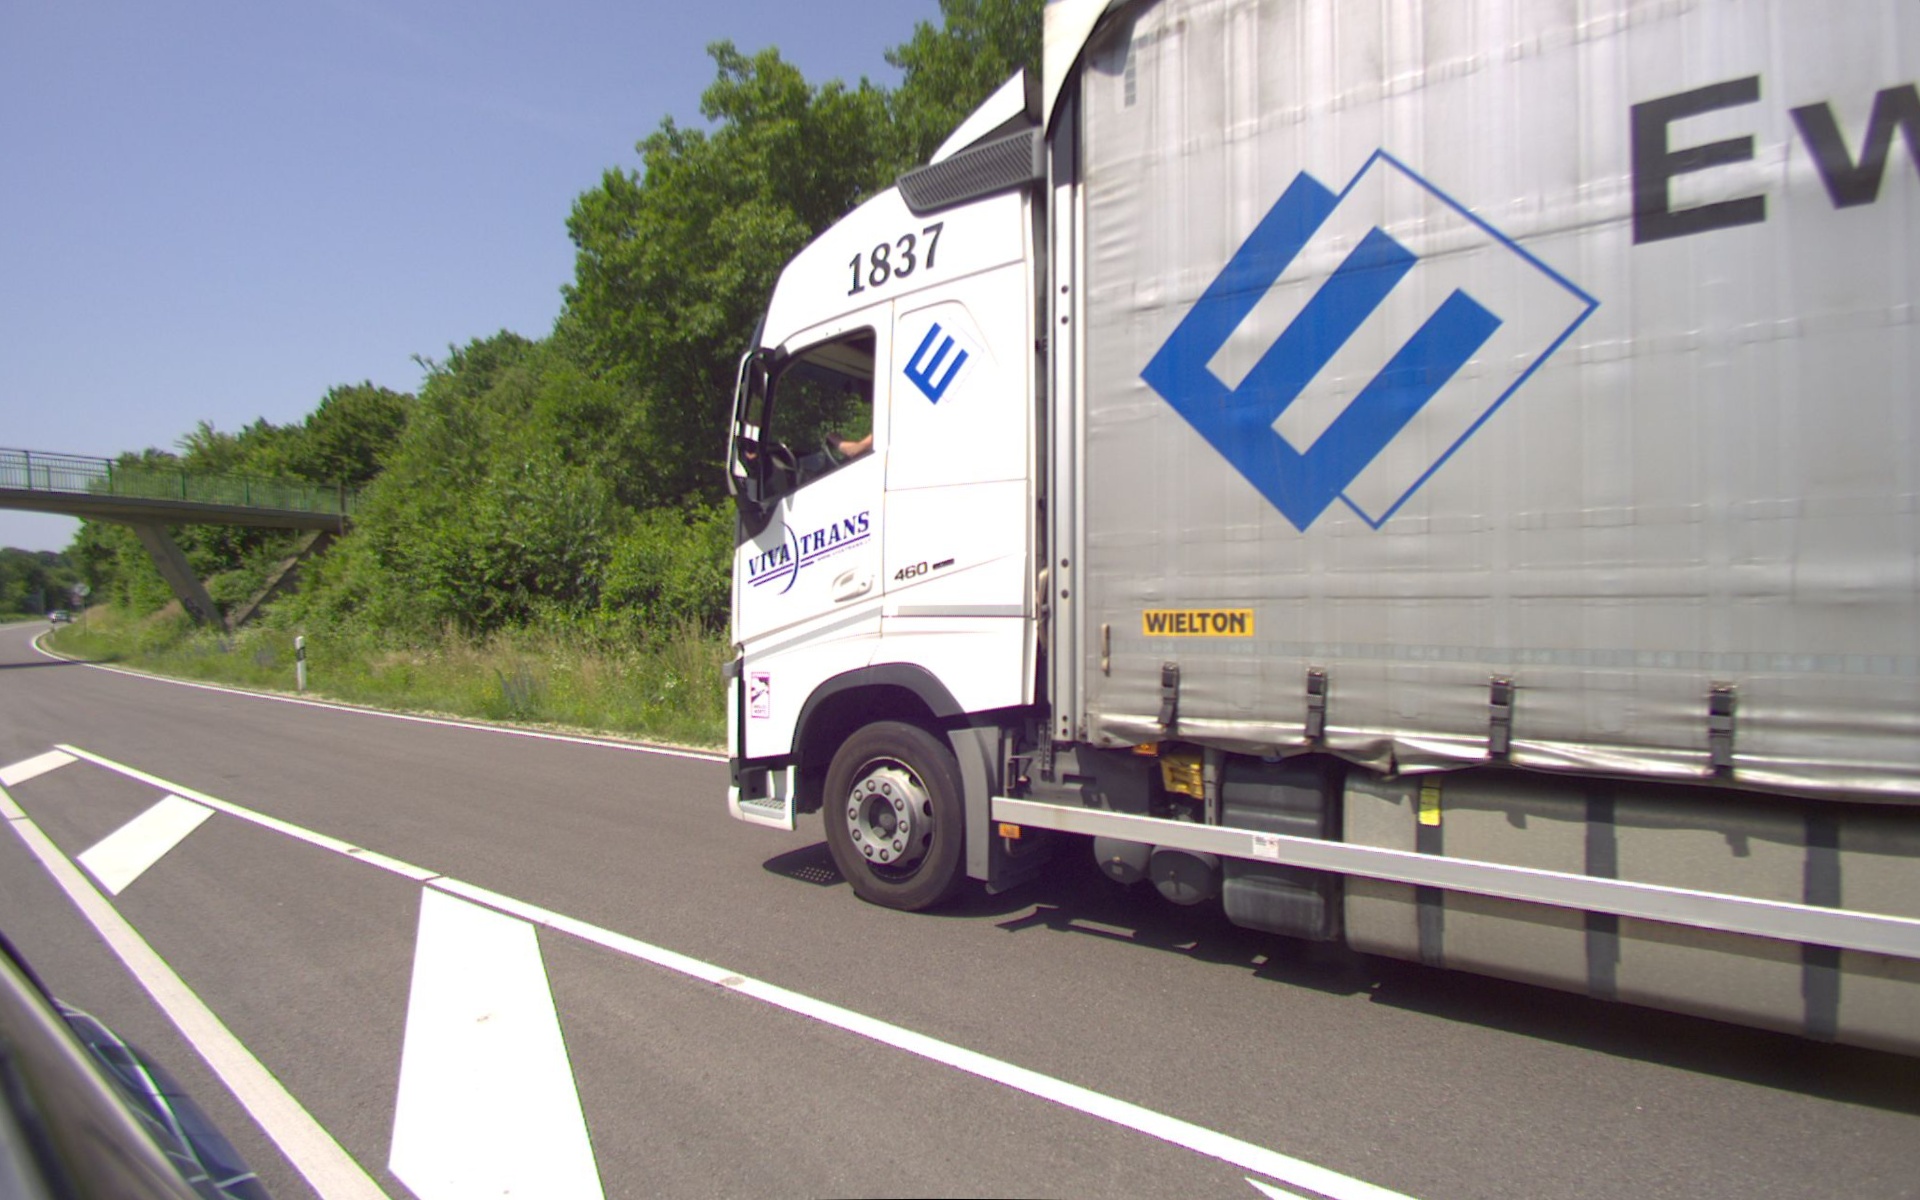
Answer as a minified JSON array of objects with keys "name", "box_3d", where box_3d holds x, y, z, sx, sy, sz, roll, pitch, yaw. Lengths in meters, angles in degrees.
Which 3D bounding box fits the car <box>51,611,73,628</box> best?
[{"name":"car","box_3d":[-109.991,2.329,123.966,1.947,2.047,5.405,-1,0,-42]}]

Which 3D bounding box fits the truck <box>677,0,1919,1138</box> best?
[{"name":"truck","box_3d":[3.767,-0.740,3.251,11.042,4.126,2.773,-1,0,37]}]
